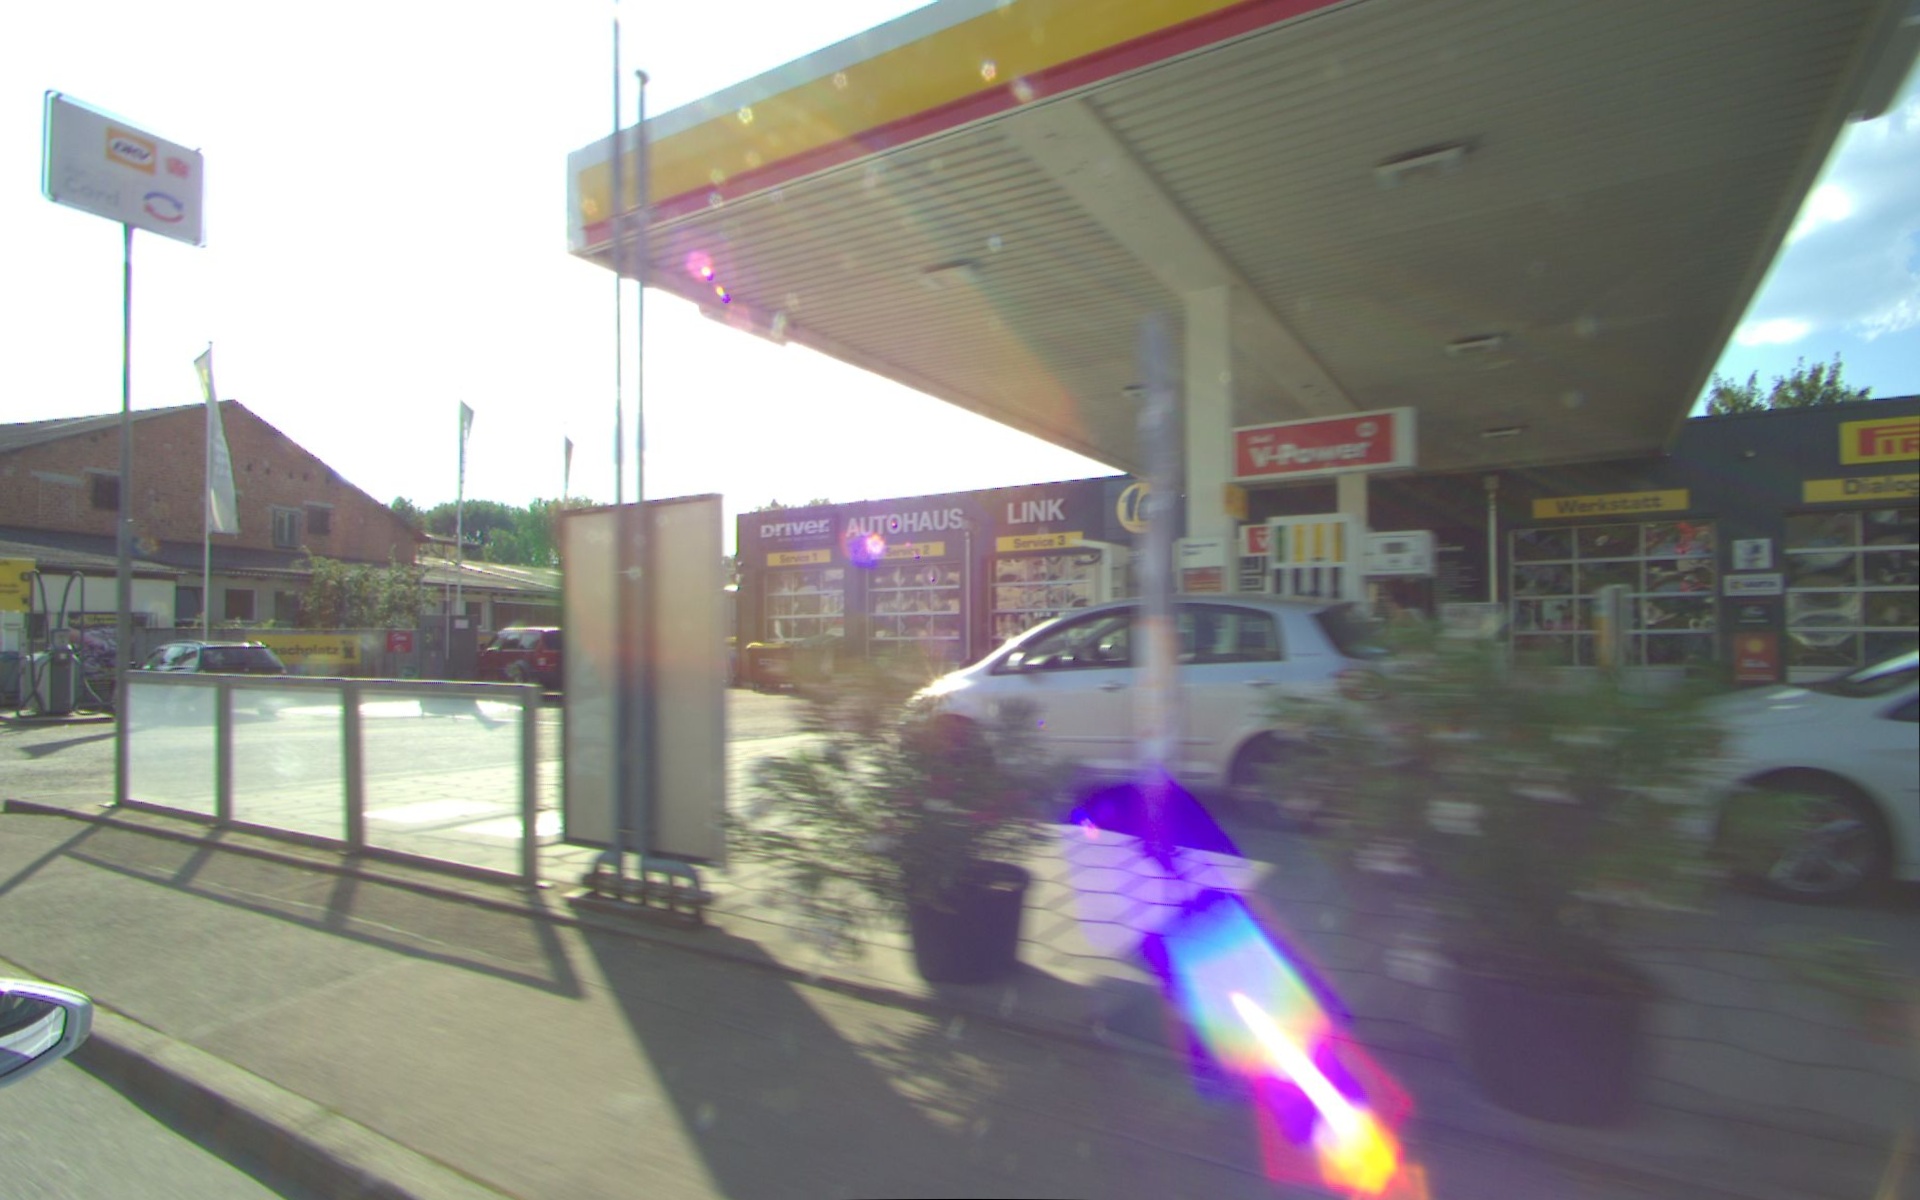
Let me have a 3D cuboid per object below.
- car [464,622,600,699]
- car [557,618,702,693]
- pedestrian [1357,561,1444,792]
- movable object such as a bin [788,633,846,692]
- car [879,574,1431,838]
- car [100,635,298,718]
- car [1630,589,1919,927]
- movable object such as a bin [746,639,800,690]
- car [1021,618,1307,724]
[{"bbox_3d":[-11.005,1.502,25.682,3.583,1.815,1.574,0,-1,35],"label":"car"},{"bbox_3d":[-9.439,1.519,28.443,4.492,1.948,1.573,0,-1,36],"label":"car"},{"bbox_3d":[3.377,0.572,7.672,0.527,1.691,0.499,-1,-2,33],"label":"pedestrian"},{"bbox_3d":[-3.860,1.664,27.064,1.192,1.549,0.986,0,-1,31],"label":"movable object such as a bin"},{"bbox_3d":[1.432,0.690,7.854,3.942,1.597,1.669,-1,-1,33],"label":"car"},{"bbox_3d":[-14.954,1.438,19.621,4.317,1.445,1.576,-1,-3,31],"label":"car"},{"bbox_3d":[5.738,0.756,4.968,3.942,1.597,1.669,-1,-1,33],"label":"car"},{"bbox_3d":[-5.232,1.784,28.015,1.110,1.393,0.988,0,-1,27],"label":"movable object such as a bin"},{"bbox_3d":[3.018,1.064,15.139,3.943,1.418,1.534,-3,-3,33],"label":"car"}]
